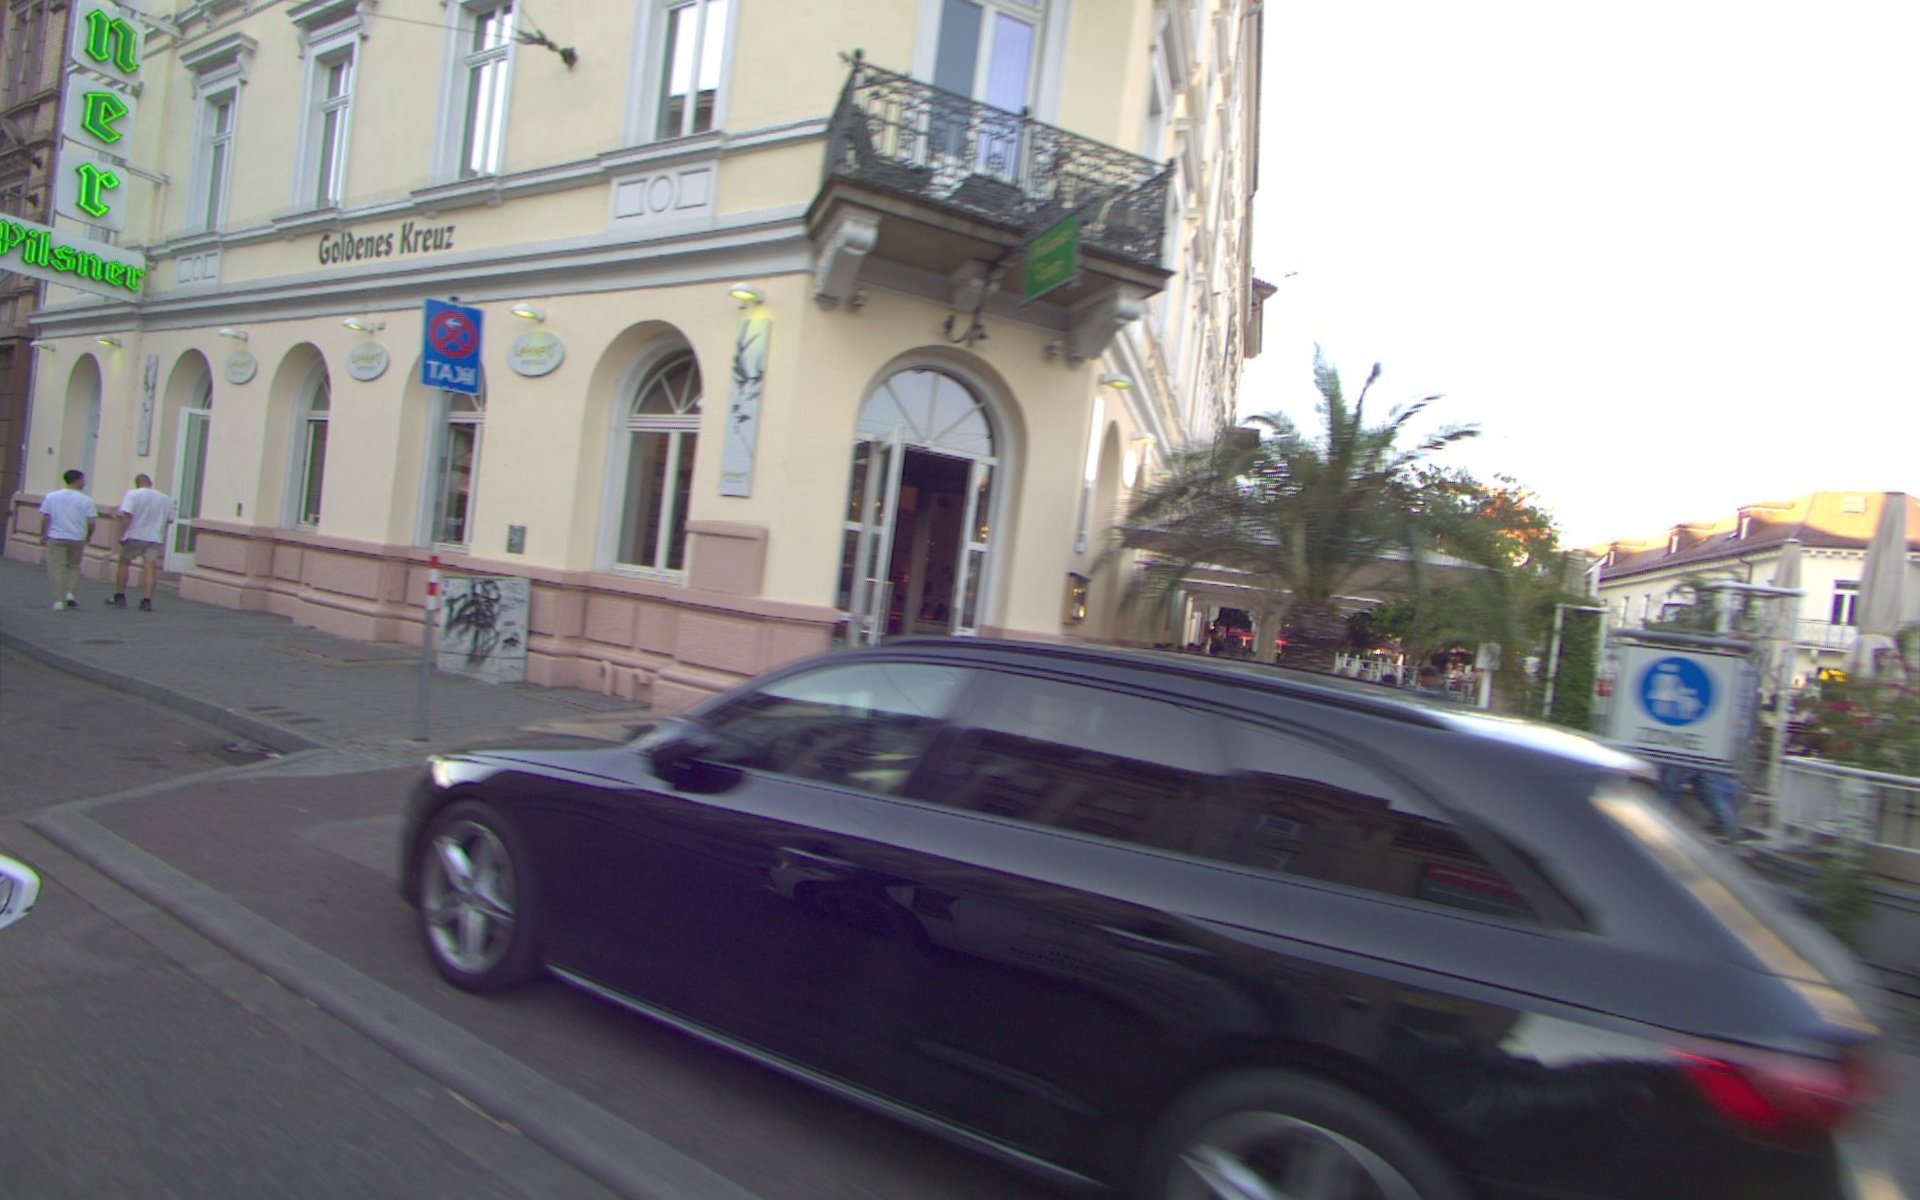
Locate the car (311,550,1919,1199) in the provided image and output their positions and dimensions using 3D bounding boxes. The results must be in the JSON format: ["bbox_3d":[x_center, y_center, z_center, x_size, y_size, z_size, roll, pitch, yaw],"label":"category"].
[{"bbox_3d":[-0.086,0.776,3.384,4.472,1.408,1.698,7,1,32],"label":"car"}]

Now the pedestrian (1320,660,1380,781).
[{"bbox_3d":[4.641,1.418,11.999,0.481,1.344,0.596,7,0,19],"label":"pedestrian"}]

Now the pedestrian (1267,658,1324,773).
[{"bbox_3d":[4.071,1.384,12.203,0.481,1.296,0.596,7,0,19],"label":"pedestrian"}]

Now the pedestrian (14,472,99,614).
[{"bbox_3d":[-11.429,-0.714,12.736,0.610,1.713,0.484,4,4,-7],"label":"pedestrian"}]

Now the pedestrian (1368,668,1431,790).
[{"bbox_3d":[5.201,1.508,11.931,0.481,1.344,0.596,7,0,19],"label":"pedestrian"}]

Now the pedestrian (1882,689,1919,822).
[{"bbox_3d":[10.070,1.630,10.441,0.523,1.349,0.490,8,1,32],"label":"pedestrian"}]

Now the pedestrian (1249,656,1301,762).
[{"bbox_3d":[4.165,1.424,13.295,0.481,1.296,0.596,7,0,19],"label":"pedestrian"}]

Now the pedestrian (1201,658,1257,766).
[{"bbox_3d":[3.321,1.359,12.401,0.481,1.232,0.669,7,0,19],"label":"pedestrian"}]

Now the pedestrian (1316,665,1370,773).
[{"bbox_3d":[4.970,1.526,13.074,0.481,1.296,0.596,7,0,19],"label":"pedestrian"}]

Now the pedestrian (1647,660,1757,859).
[{"bbox_3d":[6.874,1.449,9.344,0.522,1.717,0.590,8,1,25],"label":"pedestrian"}]

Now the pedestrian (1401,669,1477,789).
[{"bbox_3d":[5.812,1.551,12.238,0.625,1.344,0.491,8,1,19],"label":"pedestrian"}]

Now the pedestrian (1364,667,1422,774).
[{"bbox_3d":[5.552,1.531,12.926,0.481,1.265,0.596,7,0,19],"label":"pedestrian"}]

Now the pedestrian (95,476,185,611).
[{"bbox_3d":[-10.853,-0.737,13.321,0.542,1.713,0.759,8,5,31],"label":"pedestrian"}]

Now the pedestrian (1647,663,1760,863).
[{"bbox_3d":[6.531,1.406,8.869,0.522,1.628,0.553,8,1,25],"label":"pedestrian"}]
